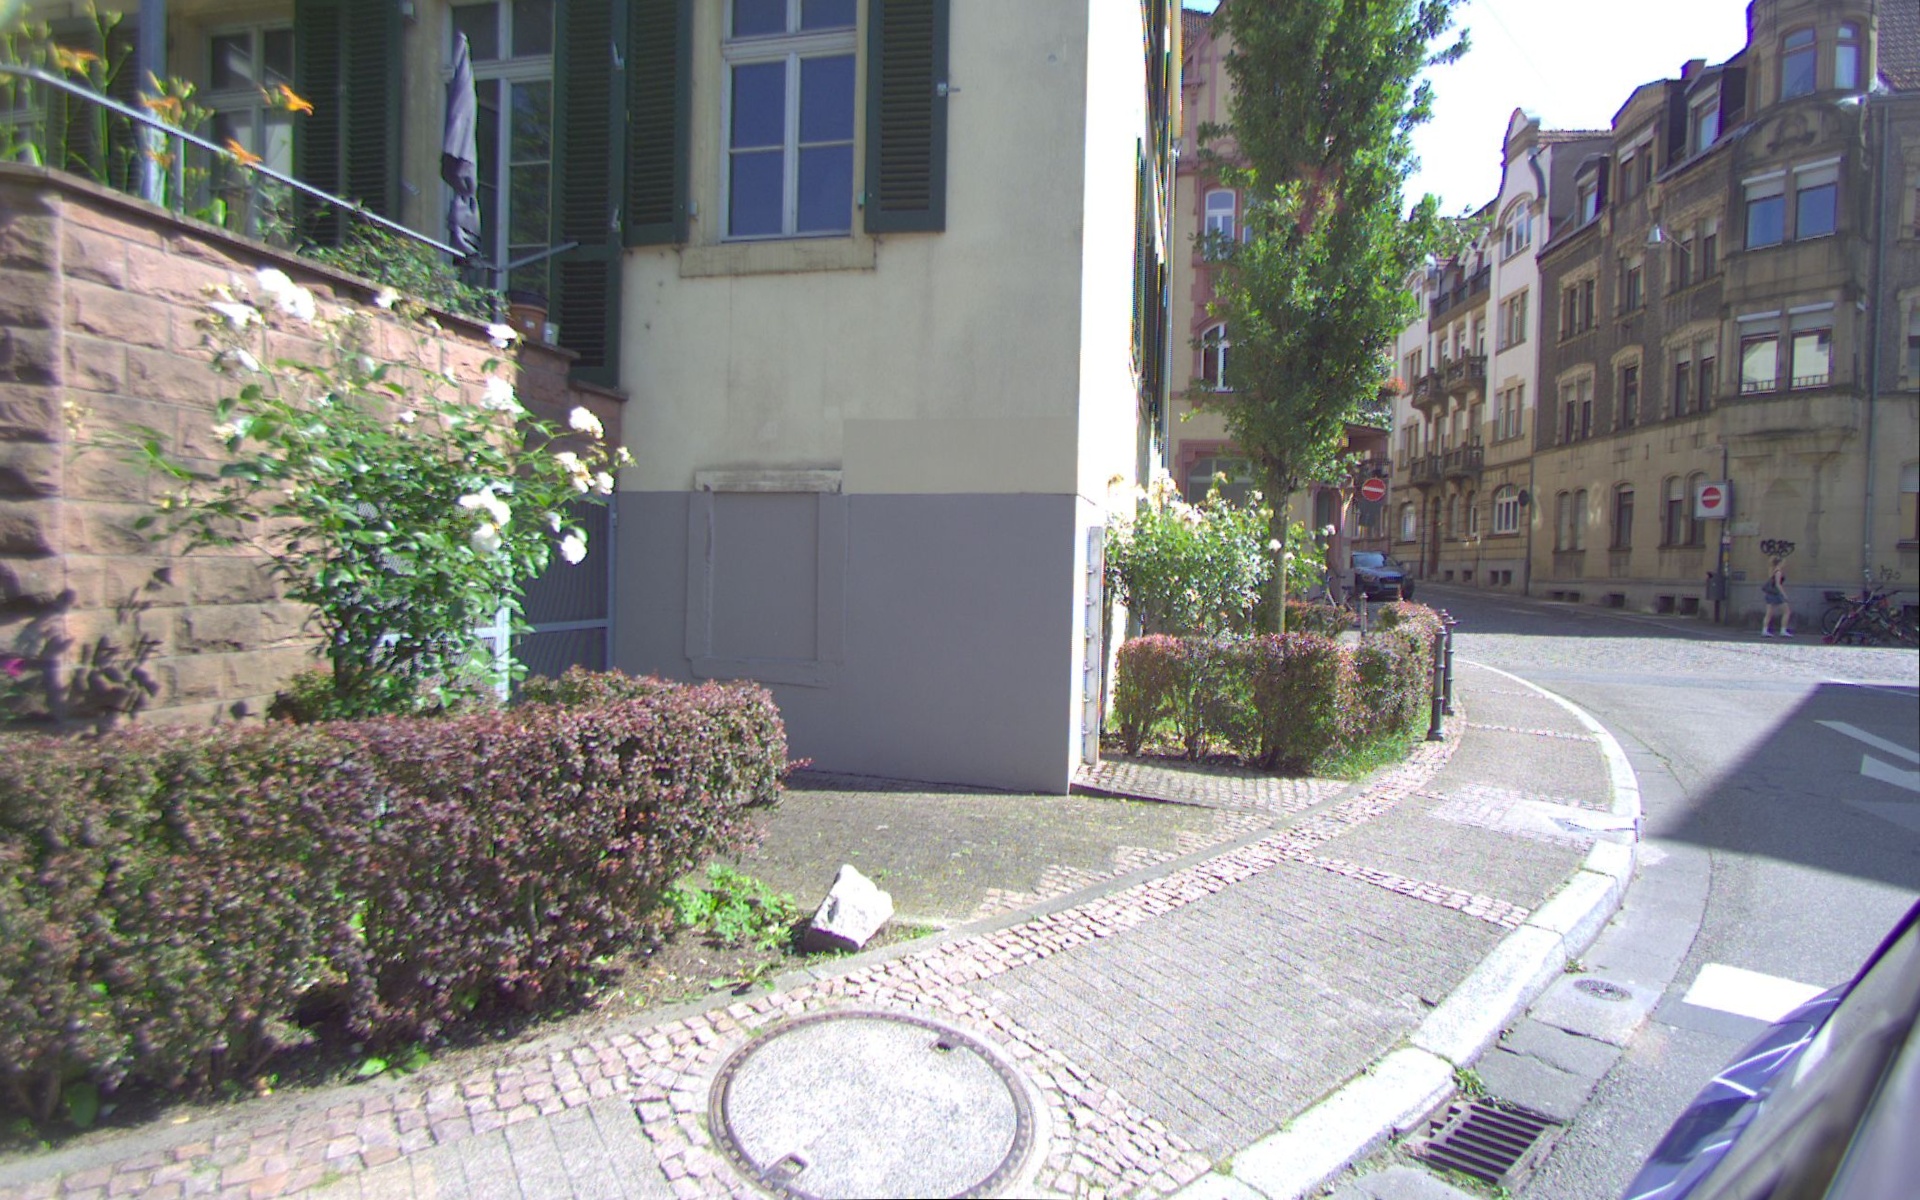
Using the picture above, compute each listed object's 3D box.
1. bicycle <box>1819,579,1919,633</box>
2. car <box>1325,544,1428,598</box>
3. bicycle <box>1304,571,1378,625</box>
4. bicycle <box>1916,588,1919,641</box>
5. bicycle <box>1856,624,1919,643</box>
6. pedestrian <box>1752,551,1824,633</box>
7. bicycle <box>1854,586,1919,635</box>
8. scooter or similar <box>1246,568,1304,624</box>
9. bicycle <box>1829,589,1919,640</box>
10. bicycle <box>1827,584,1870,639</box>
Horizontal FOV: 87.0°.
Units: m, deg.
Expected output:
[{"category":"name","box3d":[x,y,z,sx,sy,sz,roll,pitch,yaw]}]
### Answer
[{"category":"bicycle","box3d":[20.584,0.118,22.897,1.618,1.098,0.495,2,6,14]},{"category":"car","box3d":[13.721,-1.003,33.631,1.828,1.601,4.260,0,4,3]},{"category":"bicycle","box3d":[8.901,-0.070,23.731,0.495,1.160,1.798,1,3,-22]},{"category":"bicycle","box3d":[20.306,0.316,20.362,0.280,1.099,1.645,3,-1,-14]},{"category":"bicycle","box3d":[19.350,0.689,20.845,1.068,0.291,1.113,3,3,28]},{"category":"pedestrian","box3d":[18.558,-0.193,22.703,0.966,1.778,0.621,1,5,13]},{"category":"bicycle","box3d":[19.872,0.240,21.185,0.285,1.080,1.642,-42,0,4]},{"category":"scooter or similar","box3d":[7.255,-0.092,23.314,1.168,1.250,0.442,1,2,0]},{"category":"bicycle","box3d":[19.385,0.299,21.231,0.285,1.080,1.642,-42,0,4]},{"category":"bicycle","box3d":[18.773,0.228,21.402,0.283,1.099,1.627,-2,1,27]}]
